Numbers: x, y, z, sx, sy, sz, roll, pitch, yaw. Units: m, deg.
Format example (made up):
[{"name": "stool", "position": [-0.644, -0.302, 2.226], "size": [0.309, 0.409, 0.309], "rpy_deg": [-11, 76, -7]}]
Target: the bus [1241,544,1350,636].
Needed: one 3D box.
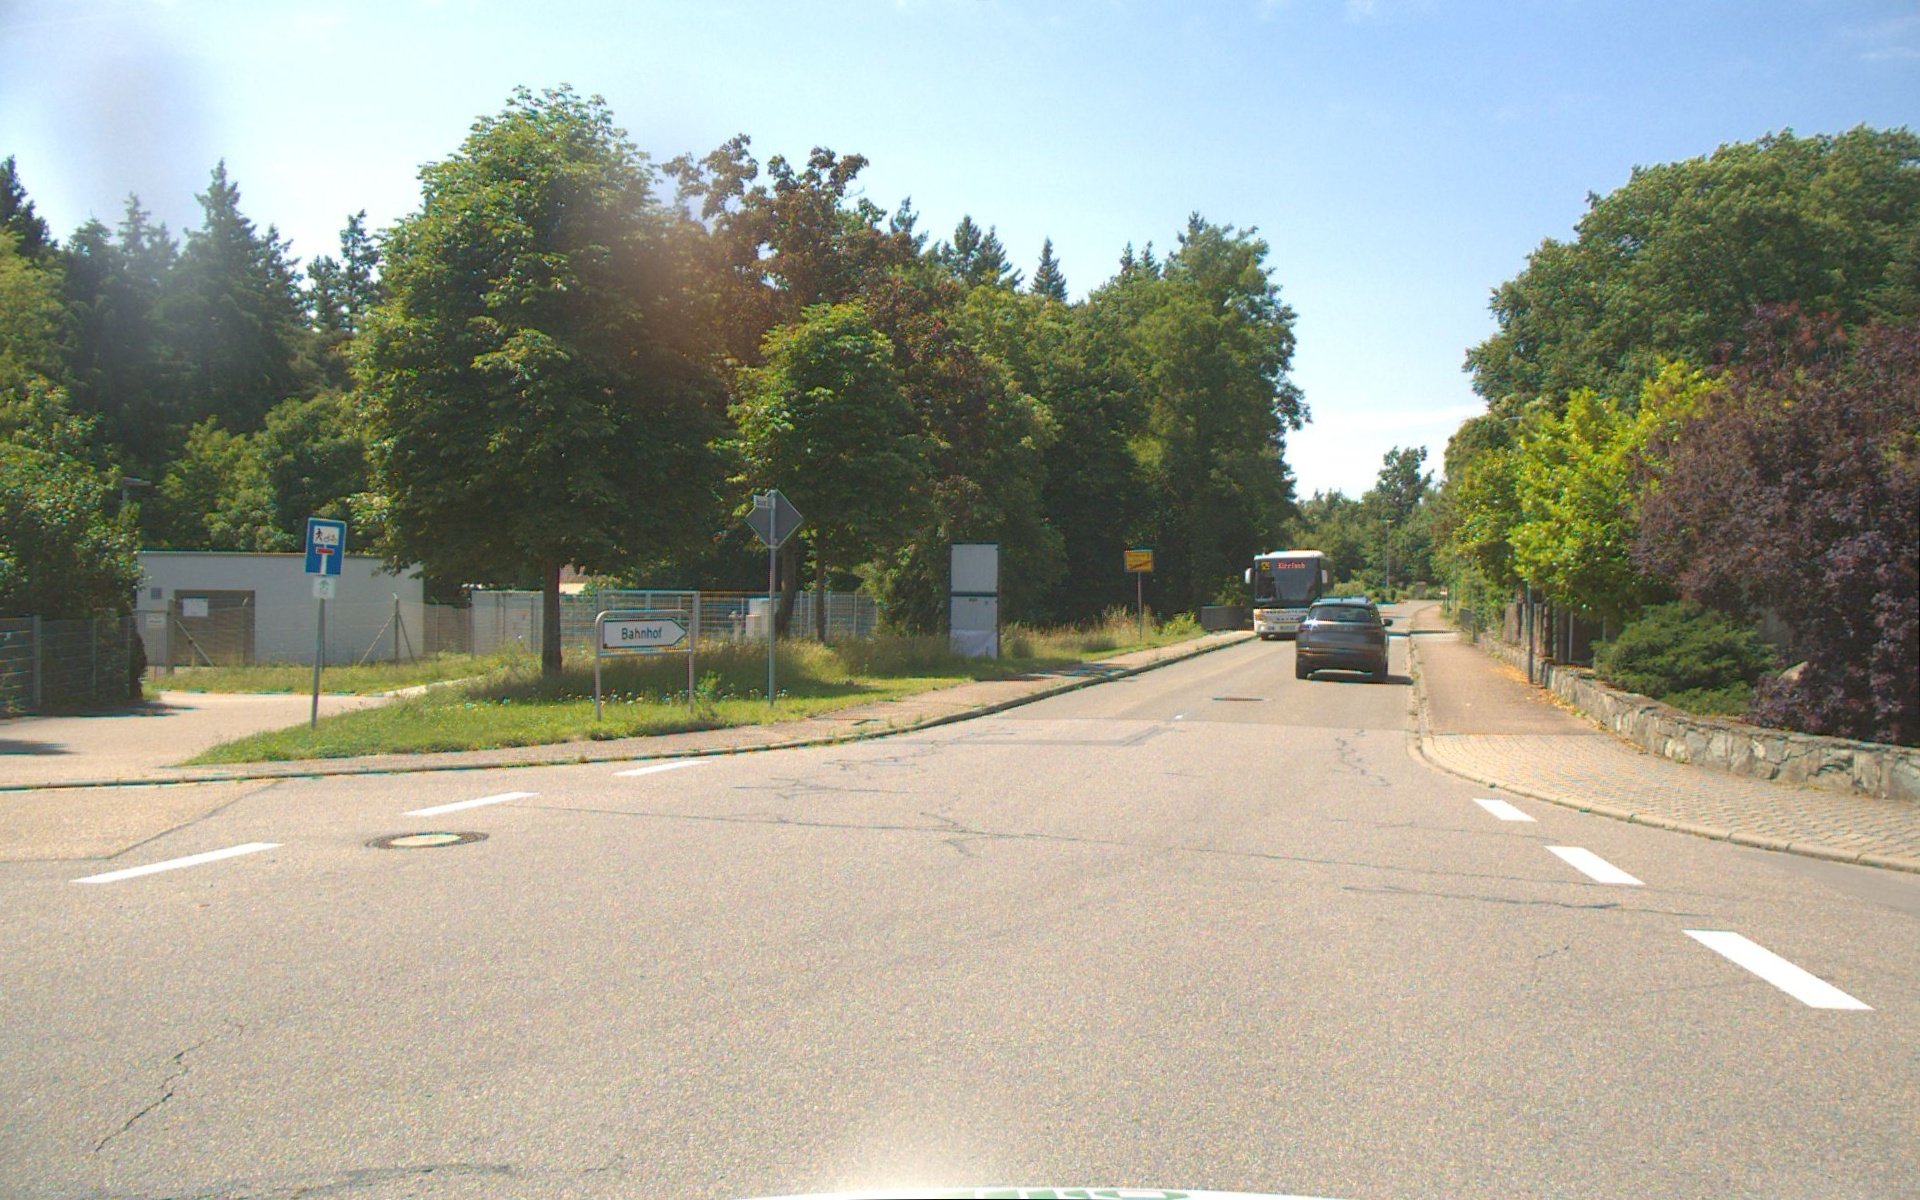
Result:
[{"name": "bus", "position": [13.616, -0.378, 66.146], "size": [3.114, 3.301, 12.719], "rpy_deg": [0, 0, 17]}]

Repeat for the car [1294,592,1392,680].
[{"name": "car", "position": [7.929, 0.709, 34.028], "size": [1.725, 1.646, 4.002], "rpy_deg": [2, 0, 16]}]

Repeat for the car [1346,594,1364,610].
[{"name": "car", "position": [46.779, 0.227, 196.113], "size": [1.909, 1.892, 4.003], "rpy_deg": [0, 0, 11]}]
